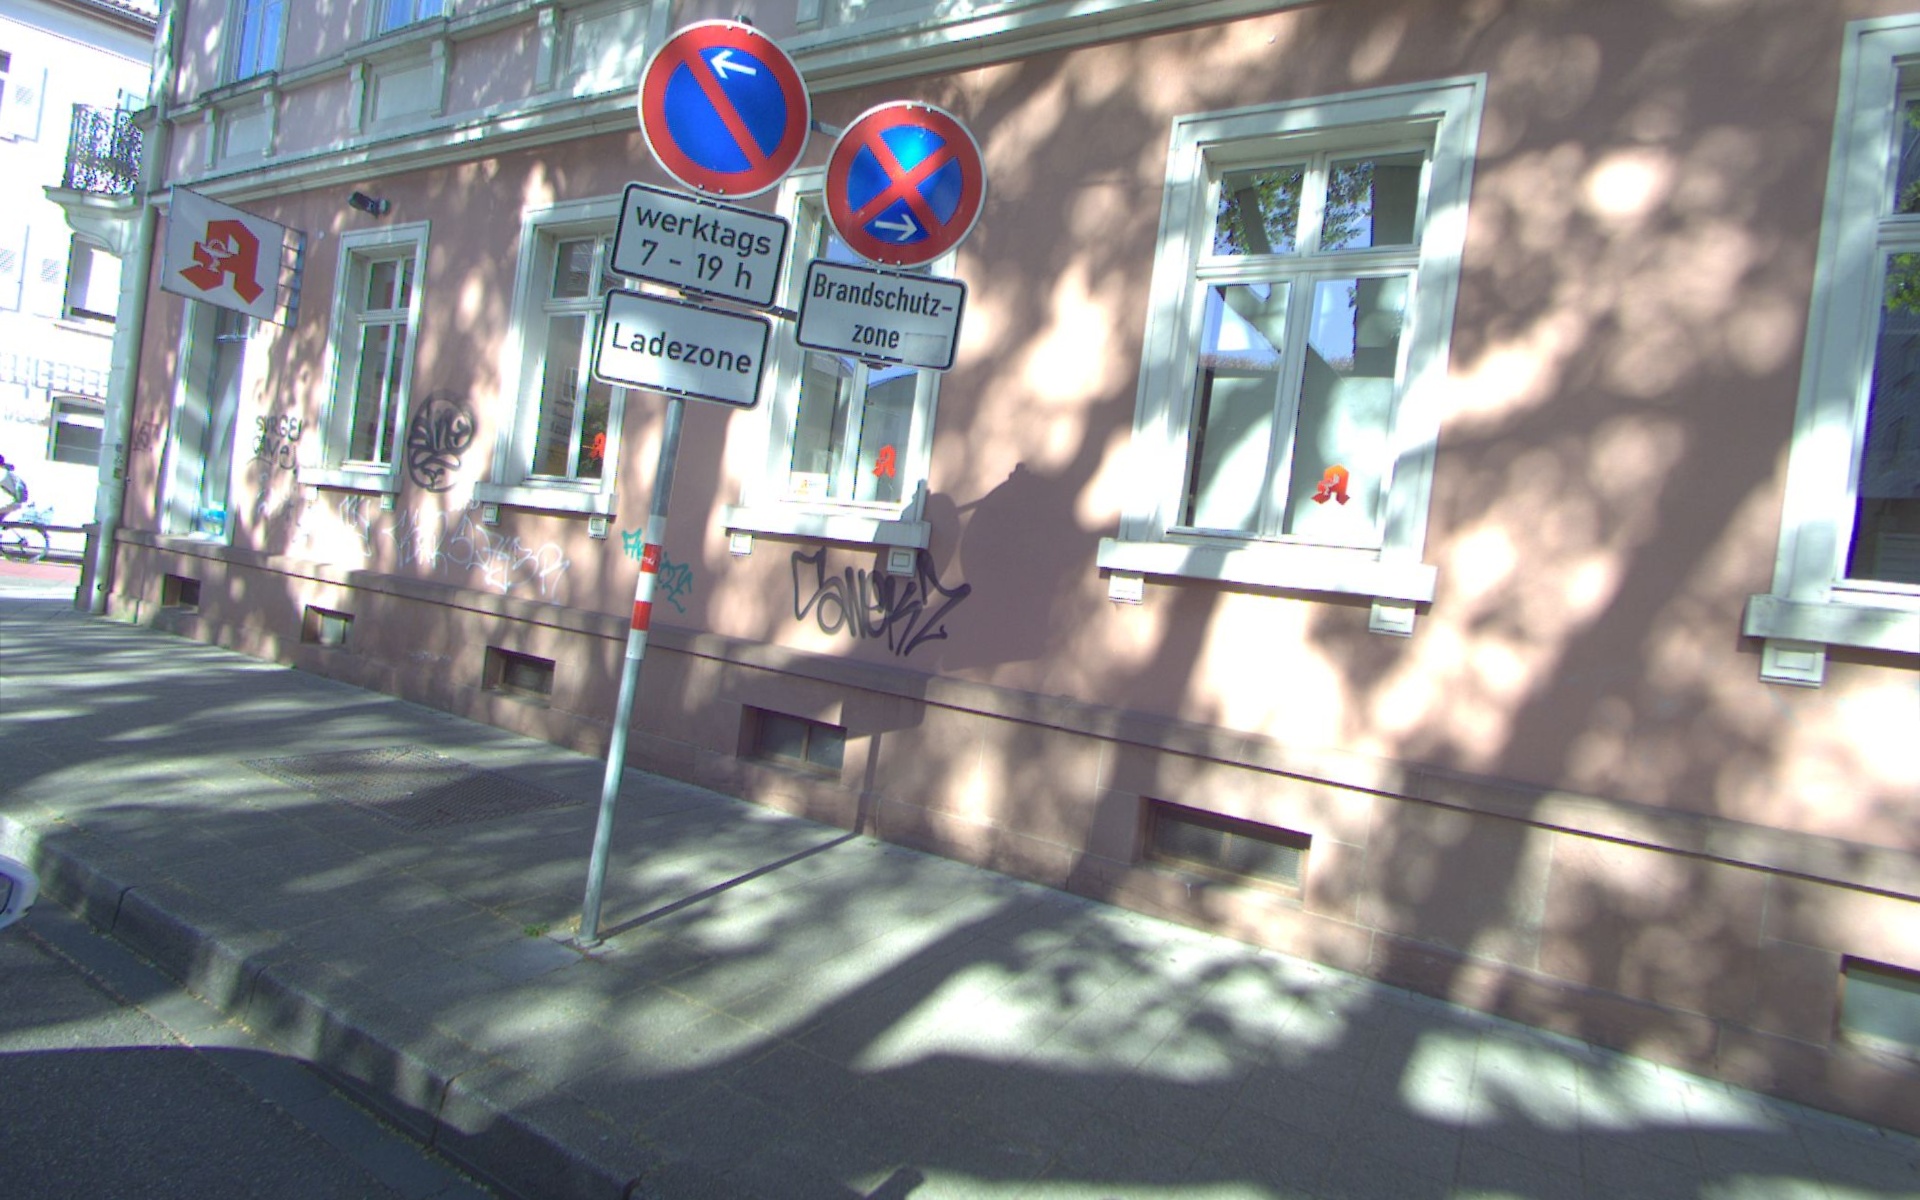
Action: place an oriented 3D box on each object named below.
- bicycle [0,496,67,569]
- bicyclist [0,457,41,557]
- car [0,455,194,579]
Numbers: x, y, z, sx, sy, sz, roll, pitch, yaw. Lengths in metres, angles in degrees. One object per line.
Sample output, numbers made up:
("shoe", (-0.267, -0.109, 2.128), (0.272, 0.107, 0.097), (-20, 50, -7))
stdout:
("bicycle", (-16.830, -1.244, 17.374), (0.675, 1.158, 2.003), (7, -1, 45))
("bicyclist", (-16.754, -1.649, 17.426), (1.088, 1.664, 0.747), (7, 0, -45))
("car", (-18.279, -1.725, 19.778), (4.862, 1.950, 1.982), (8, -3, -35))
